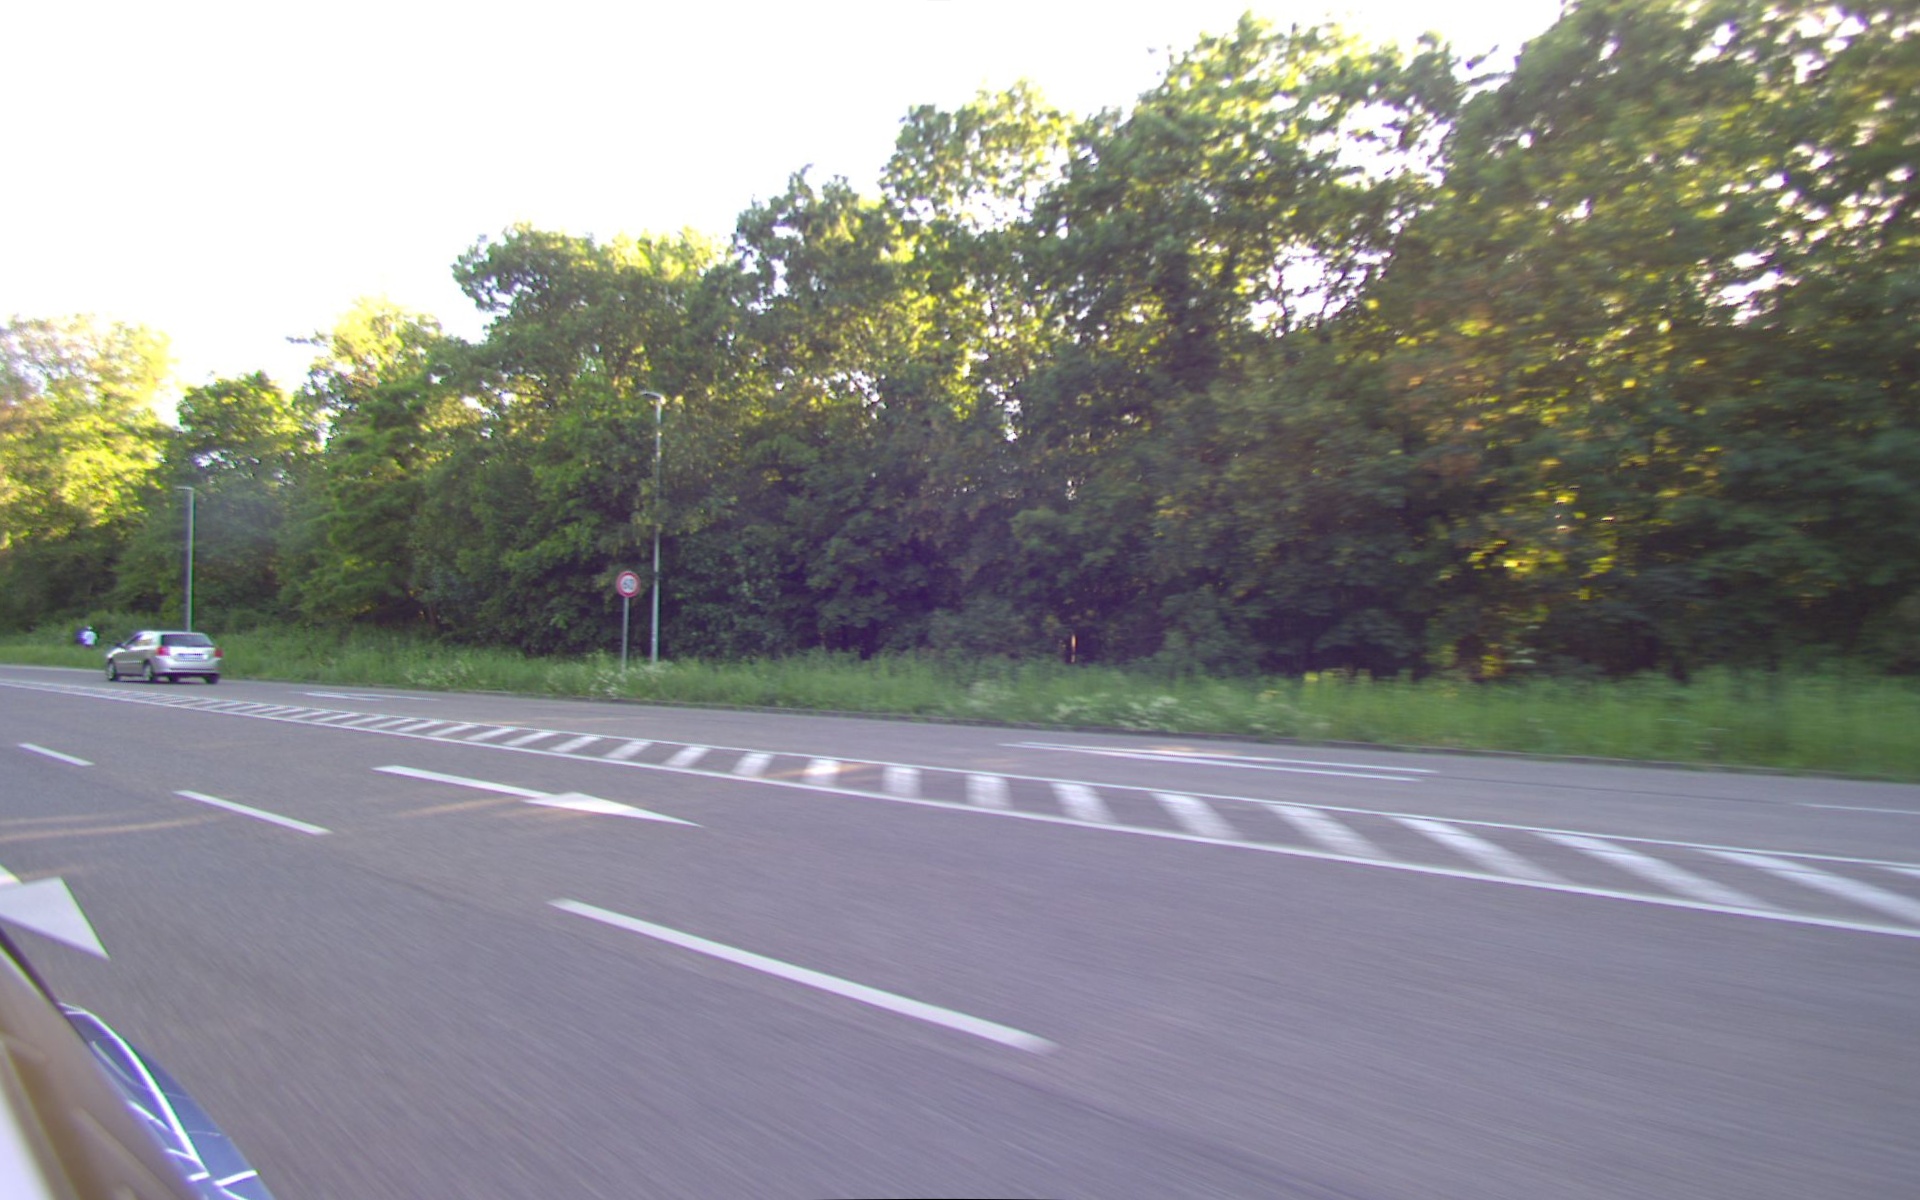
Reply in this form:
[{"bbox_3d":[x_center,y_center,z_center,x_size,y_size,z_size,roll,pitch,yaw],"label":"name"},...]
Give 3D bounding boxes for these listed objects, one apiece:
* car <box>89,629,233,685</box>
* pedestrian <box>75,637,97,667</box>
[{"bbox_3d":[-22.839,1.630,28.891,4.466,1.466,1.814,-1,-5,33],"label":"car"},{"bbox_3d":[-46.689,2.756,54.053,0.824,1.577,0.704,-2,-4,37],"label":"pedestrian"}]
